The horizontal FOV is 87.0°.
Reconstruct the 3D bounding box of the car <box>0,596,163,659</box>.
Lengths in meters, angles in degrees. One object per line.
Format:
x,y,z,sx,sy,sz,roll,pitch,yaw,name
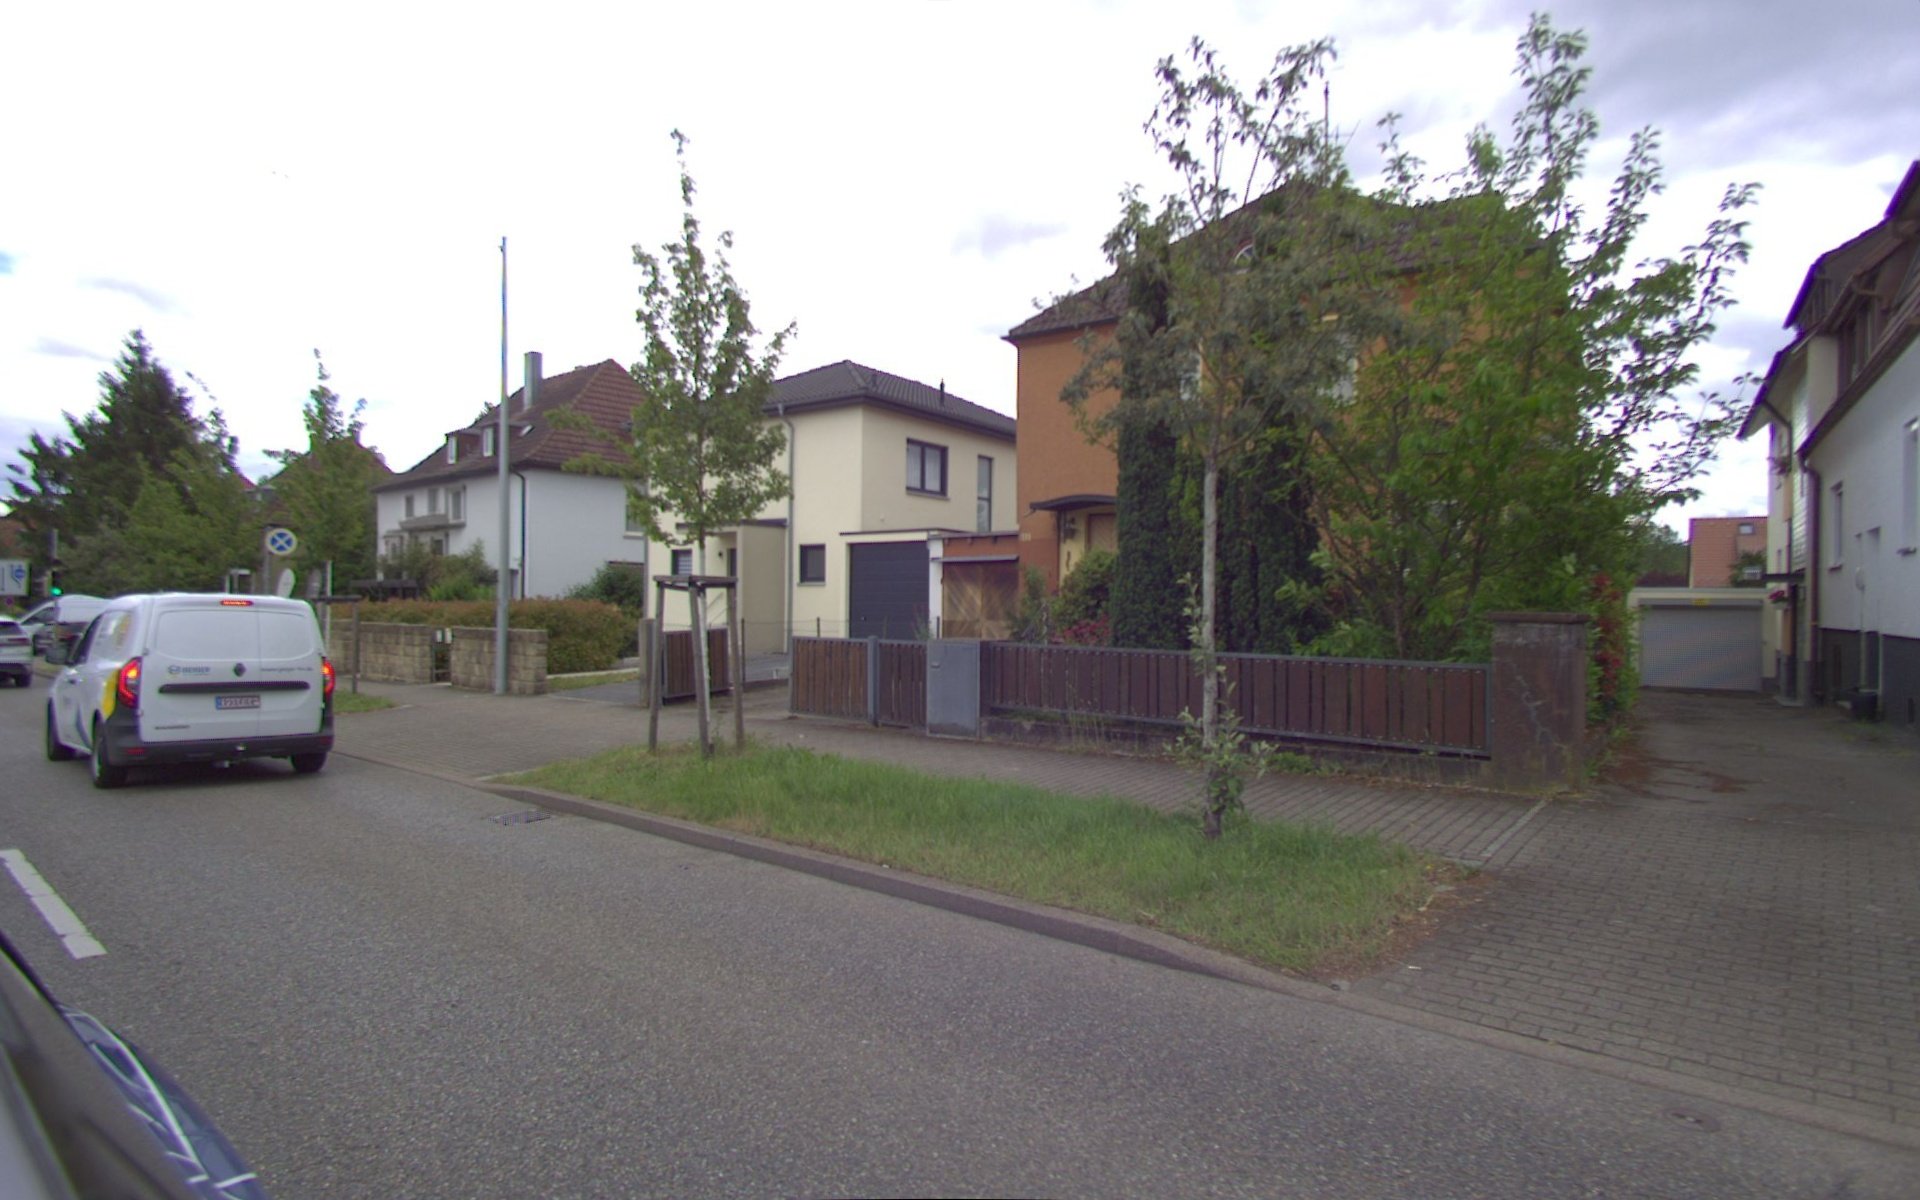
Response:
-38.250,1.209,43.816,5.527,2.583,2.136,3,-2,-32,car

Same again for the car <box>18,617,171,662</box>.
-34.334,1.527,40.330,1.974,1.633,4.642,-1,-1,4,car

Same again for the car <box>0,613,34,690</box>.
-23.091,1.161,23.458,4.462,1.706,1.795,-1,-3,40,car

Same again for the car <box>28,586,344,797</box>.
-8.183,0.826,10.557,4.296,1.765,1.776,-1,-2,41,car
